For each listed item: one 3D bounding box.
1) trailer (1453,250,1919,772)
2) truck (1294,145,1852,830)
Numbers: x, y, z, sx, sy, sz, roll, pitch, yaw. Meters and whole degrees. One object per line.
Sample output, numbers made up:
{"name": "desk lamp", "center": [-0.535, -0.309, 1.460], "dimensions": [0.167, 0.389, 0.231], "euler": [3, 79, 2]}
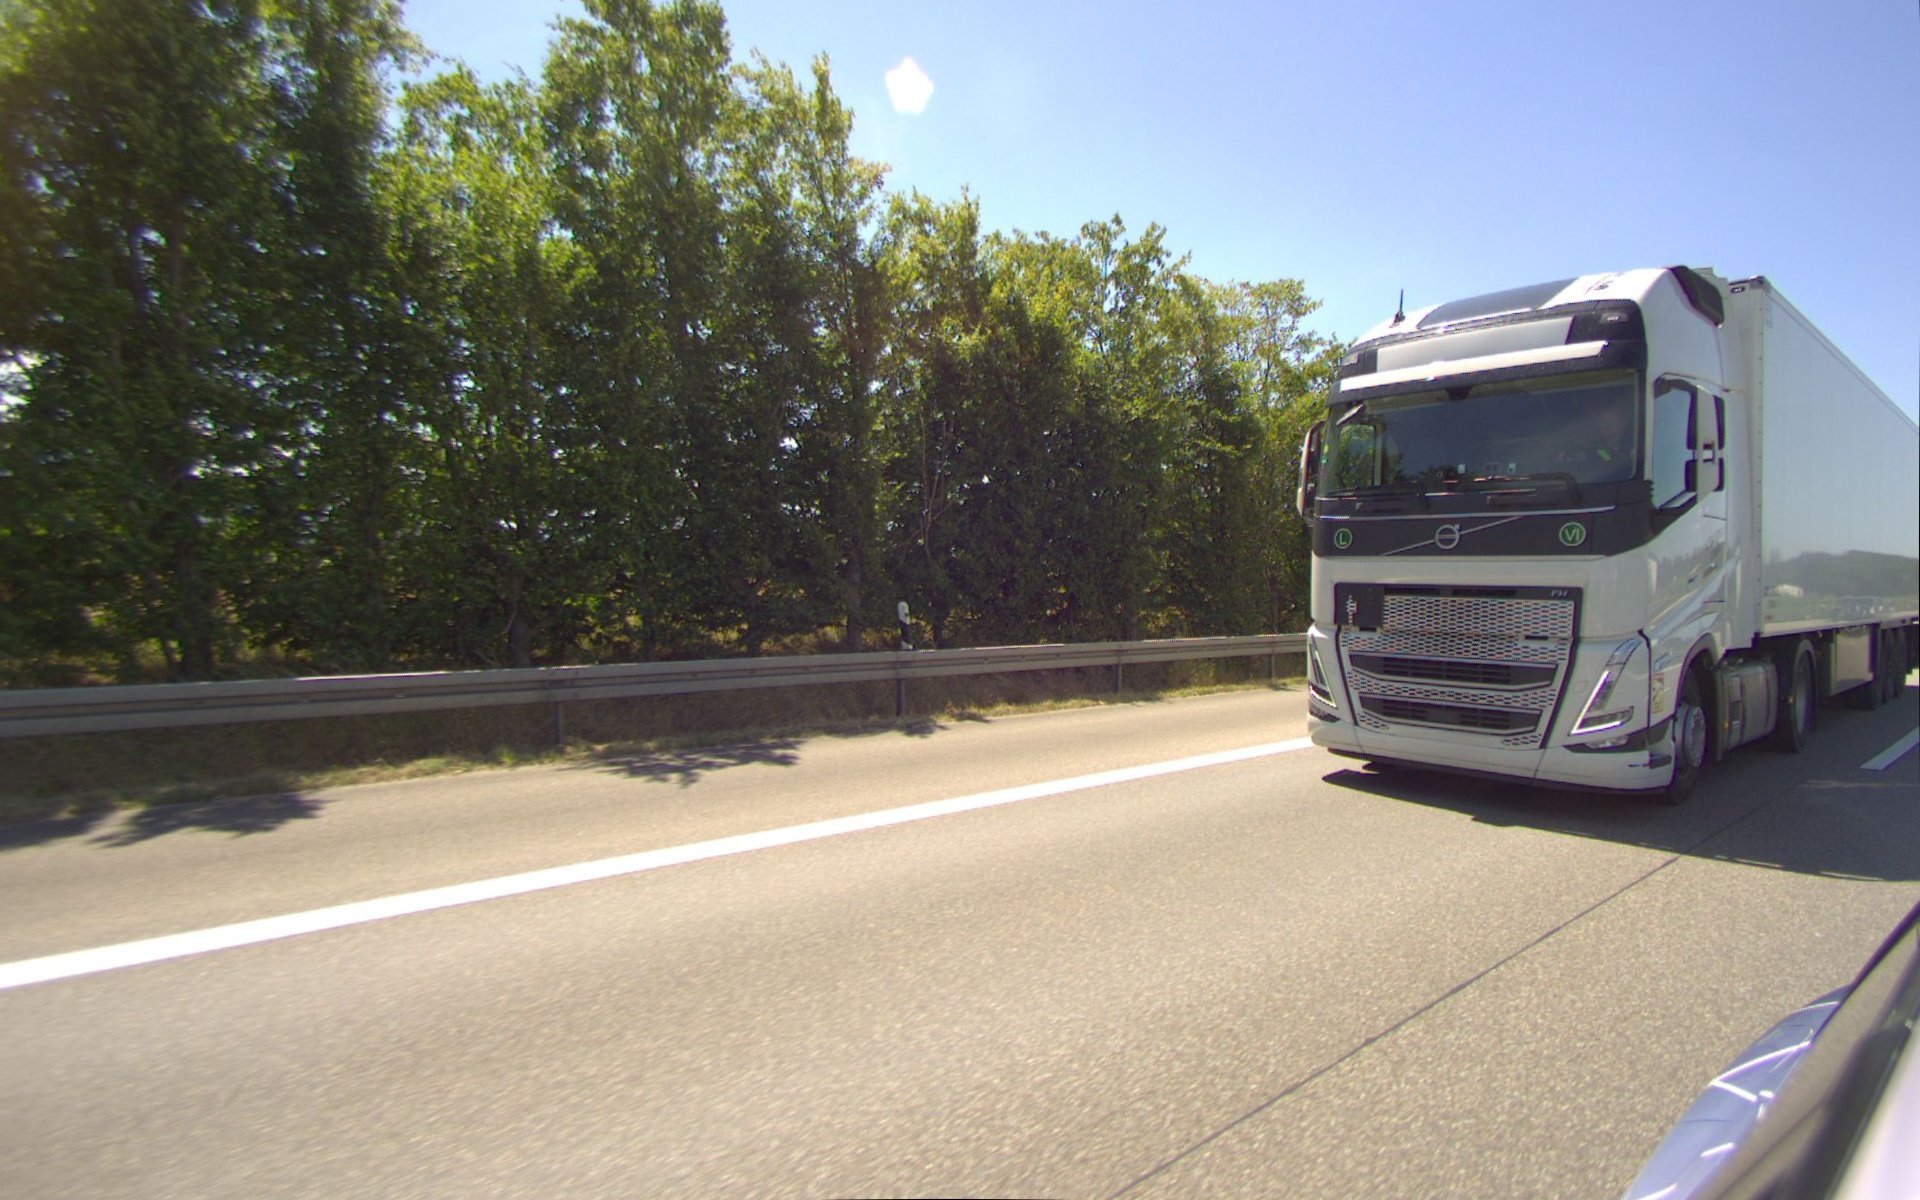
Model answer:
{"name": "trailer", "center": [10.771, -0.775, 13.400], "dimensions": [13.638, 4.113, 2.474], "euler": [-1, 0, -41]}
{"name": "truck", "center": [5.788, -0.708, 9.059], "dimensions": [6.210, 4.113, 2.474], "euler": [-1, 0, -41]}
